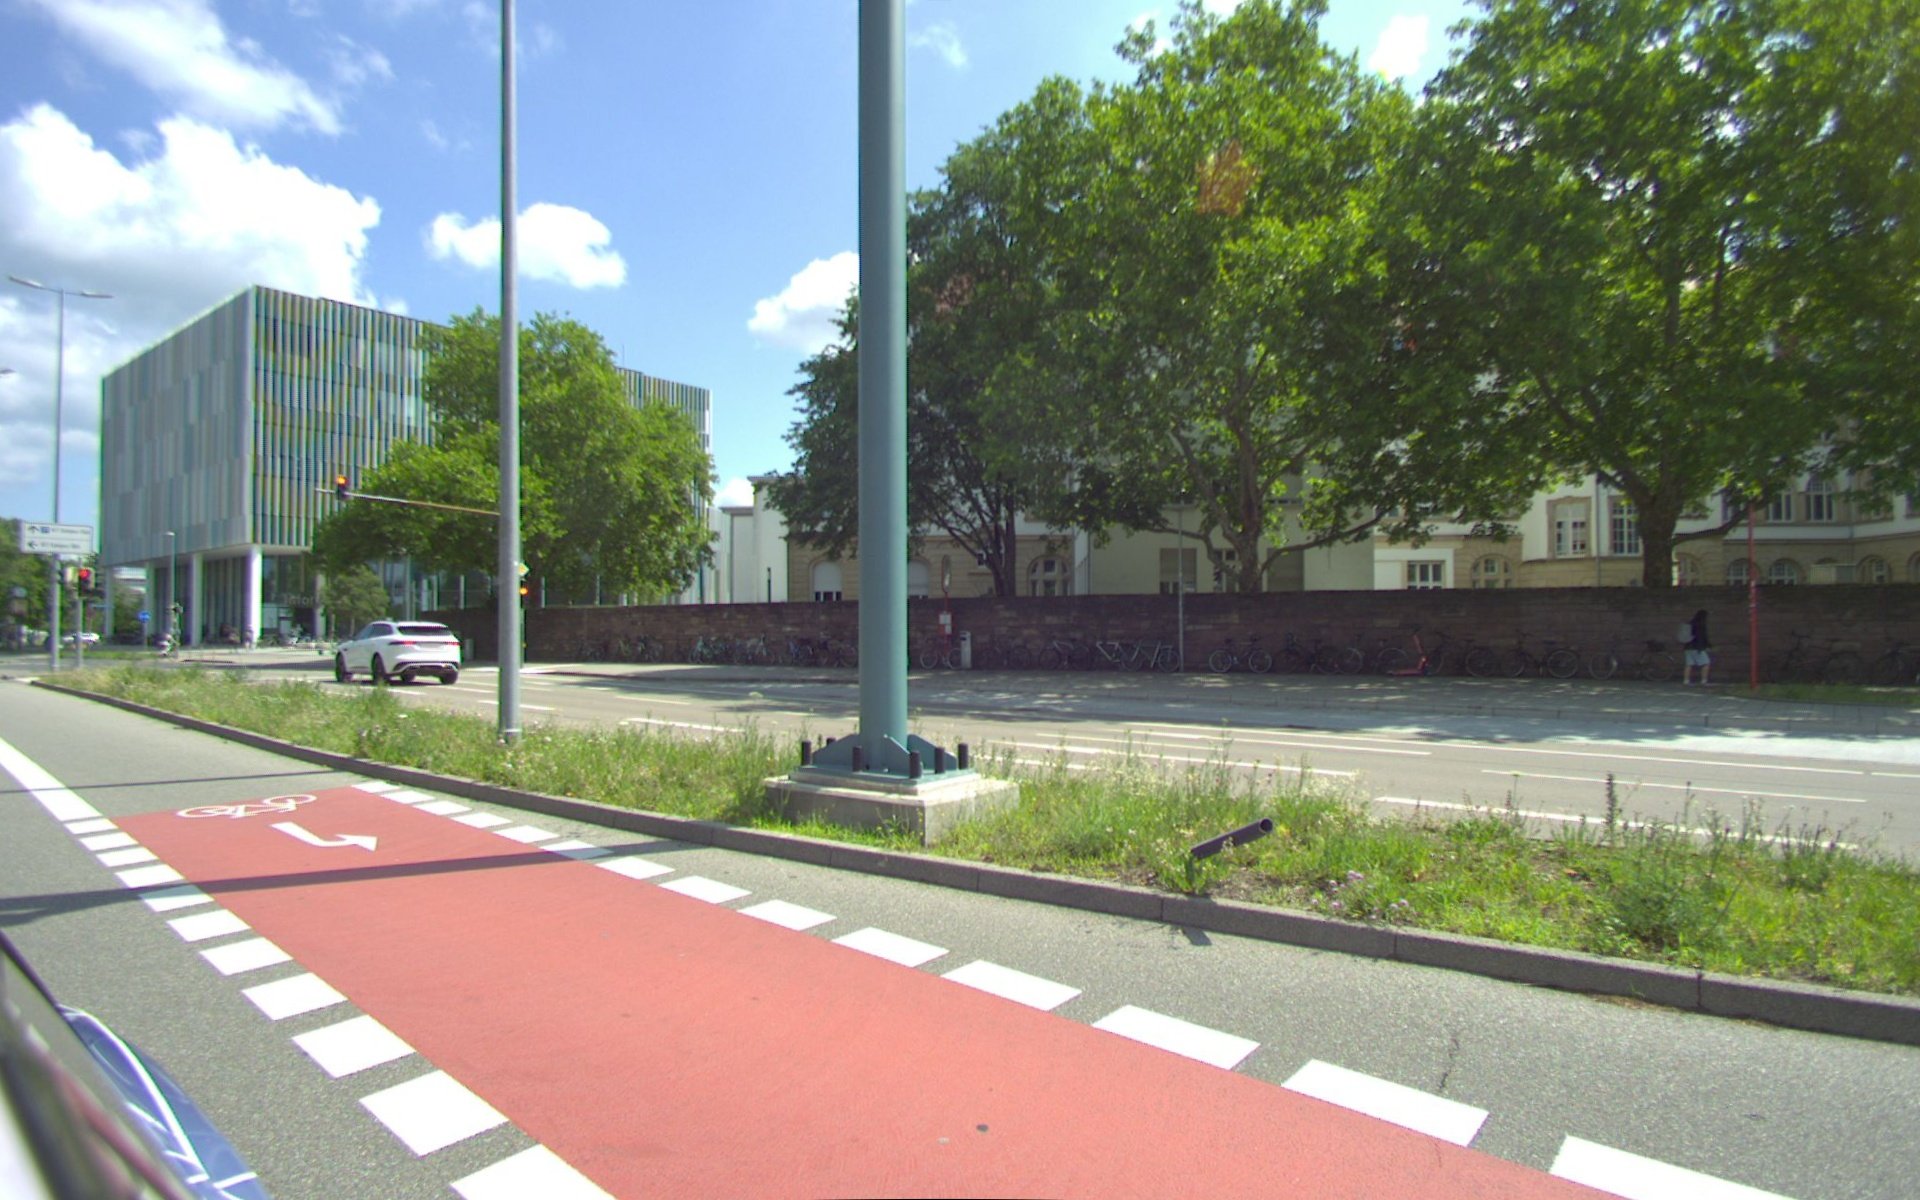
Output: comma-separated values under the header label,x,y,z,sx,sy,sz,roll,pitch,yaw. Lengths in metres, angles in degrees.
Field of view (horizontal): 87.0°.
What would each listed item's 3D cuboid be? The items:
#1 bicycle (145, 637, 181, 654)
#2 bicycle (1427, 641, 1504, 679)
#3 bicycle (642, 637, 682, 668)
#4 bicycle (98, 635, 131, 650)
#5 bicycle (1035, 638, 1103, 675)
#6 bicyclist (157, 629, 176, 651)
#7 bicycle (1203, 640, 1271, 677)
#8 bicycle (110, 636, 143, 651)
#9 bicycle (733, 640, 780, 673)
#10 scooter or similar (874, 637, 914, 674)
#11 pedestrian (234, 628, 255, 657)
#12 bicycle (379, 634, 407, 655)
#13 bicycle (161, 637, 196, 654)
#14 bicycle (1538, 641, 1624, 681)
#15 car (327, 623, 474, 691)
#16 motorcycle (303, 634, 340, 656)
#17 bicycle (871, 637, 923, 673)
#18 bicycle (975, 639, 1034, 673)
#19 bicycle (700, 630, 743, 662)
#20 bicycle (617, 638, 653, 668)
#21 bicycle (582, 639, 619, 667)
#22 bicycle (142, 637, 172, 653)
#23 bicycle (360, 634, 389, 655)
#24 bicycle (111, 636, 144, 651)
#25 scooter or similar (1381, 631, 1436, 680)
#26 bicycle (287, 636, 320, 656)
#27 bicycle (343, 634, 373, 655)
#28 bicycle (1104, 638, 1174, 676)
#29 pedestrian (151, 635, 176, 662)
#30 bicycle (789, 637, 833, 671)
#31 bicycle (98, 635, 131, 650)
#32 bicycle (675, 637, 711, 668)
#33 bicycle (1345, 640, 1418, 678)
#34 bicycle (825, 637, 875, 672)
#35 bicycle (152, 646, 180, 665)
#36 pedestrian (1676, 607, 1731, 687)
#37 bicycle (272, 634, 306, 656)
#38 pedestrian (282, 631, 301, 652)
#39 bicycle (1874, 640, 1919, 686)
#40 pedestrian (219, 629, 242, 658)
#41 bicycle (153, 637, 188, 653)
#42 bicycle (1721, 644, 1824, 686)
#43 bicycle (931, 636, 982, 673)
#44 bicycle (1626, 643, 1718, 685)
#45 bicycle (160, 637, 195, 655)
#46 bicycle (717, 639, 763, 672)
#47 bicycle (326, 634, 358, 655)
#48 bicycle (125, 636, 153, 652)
label,x,y,z,sx,sy,sz,roll,pitch,yaw
bicycle,-72.963,4.140,92.671,0.621,1.506,2.479,-2,-2,41
bicycle,12.423,1.470,24.882,1.658,0.909,0.540,-2,-2,29
bicycle,-11.472,2.015,38.931,1.589,1.161,0.616,-2,-2,33
bicycle,-86.137,4.351,103.098,0.621,1.506,2.479,-2,-2,41
bicycle,3.196,1.650,29.711,1.941,1.055,0.540,-2,-2,29
bicyclist,-44.426,2.237,56.685,0.608,1.235,0.836,0,-2,-20
bicycle,7.425,1.562,27.154,1.658,0.956,0.540,-2,-2,29
bicycle,-83.141,4.307,100.923,0.621,1.506,2.479,-2,-2,41
bicycle,-7.187,1.992,35.722,1.576,1.161,0.401,-1,-2,8
scooter or similar,-2.090,1.759,32.035,1.184,1.161,0.430,-1,-2,20
pedestrian,-49.391,2.942,69.859,0.955,1.940,0.882,0,-2,-23
bicycle,-44.204,3.466,78.928,0.983,1.564,3.423,0,-2,-13
bicycle,-70.559,4.115,91.363,2.473,1.506,0.731,1,-2,-39
bicycle,14.663,1.442,23.925,1.656,0.909,0.540,-1,-2,26
car,-15.113,1.481,27.240,4.774,1.680,2.048,-2,-3,42
motorcycle,-49.566,3.471,78.610,0.957,1.652,3.301,0,-2,-5
bicycle,-2.046,1.787,32.828,1.582,1.161,0.530,-1,-2,20
bicycle,1.357,1.700,30.815,1.795,1.016,0.476,-2,-2,32
bicycle,-8.745,1.692,37.126,1.581,1.161,0.400,-1,-2,18
bicycle,-12.821,2.081,39.916,1.589,1.161,0.495,-2,-2,33
bicycle,-14.508,2.145,40.879,1.589,1.107,0.567,-2,-2,33
bicycle,-75.211,4.185,94.805,0.621,1.506,2.172,-2,-2,41
bicycle,-45.606,3.458,78.837,0.983,1.564,3.423,0,-2,-13
bicycle,-82.358,4.291,100.127,0.621,1.506,2.479,-2,-2,41
scooter or similar,11.010,1.352,24.858,1.184,1.192,0.430,-1,-2,20
bicycle,-50.901,3.573,78.498,0.919,1.505,2.690,0,-1,-4
bicycle,-46.708,3.446,78.561,0.983,1.564,3.423,0,-2,-13
bicycle,5.042,1.603,28.560,1.887,1.055,0.540,-2,-2,29
pedestrian,-50.556,3.062,64.214,0.875,1.641,0.962,-1,-2,28
bicycle,-5.098,1.841,34.696,1.587,1.161,0.398,-2,-2,30
bicycle,-86.597,4.362,103.638,0.621,1.506,2.479,-2,-2,41
bicycle,-10.054,1.961,38.101,1.591,1.161,0.408,-2,-2,36
bicycle,10.730,1.489,25.755,1.658,0.909,0.540,-1,-2,29
bicycle,-3.668,1.801,33.602,1.582,1.161,0.530,-1,-2,20
bicycle,-44.464,3.091,56.706,0.636,1.006,2.170,0,-2,-22
pedestrian,15.548,0.970,21.179,0.752,1.629,0.612,-1,-1,20
bicycle,-51.944,3.484,78.401,0.798,1.656,3.420,0,-2,-8
pedestrian,-56.135,3.506,84.987,0.997,1.720,1.214,0,-2,-15
bicycle,20.532,1.335,21.417,1.655,0.959,0.541,-1,-2,25
pedestrian,-48.534,2.894,67.332,0.955,1.940,0.881,0,-2,-16
bicycle,-73.170,4.166,93.818,0.621,1.506,2.479,-2,-2,41
bicycle,17.991,1.429,22.445,1.656,0.909,0.540,-1,-2,26
bicycle,-0.122,1.695,31.702,1.587,1.152,0.429,-2,-2,29
bicycle,16.174,1.434,23.006,1.663,0.909,0.497,-2,-2,38
bicycle,-69.981,4.098,90.491,0.621,1.506,2.420,-2,-2,41
bicycle,-7.922,2.007,36.440,1.576,1.161,0.401,-1,-2,8
bicycle,-48.124,3.450,78.826,1.034,1.564,3.423,0,-2,-13
bicycle,-80.152,4.265,98.768,0.621,1.506,2.044,-2,-2,41
